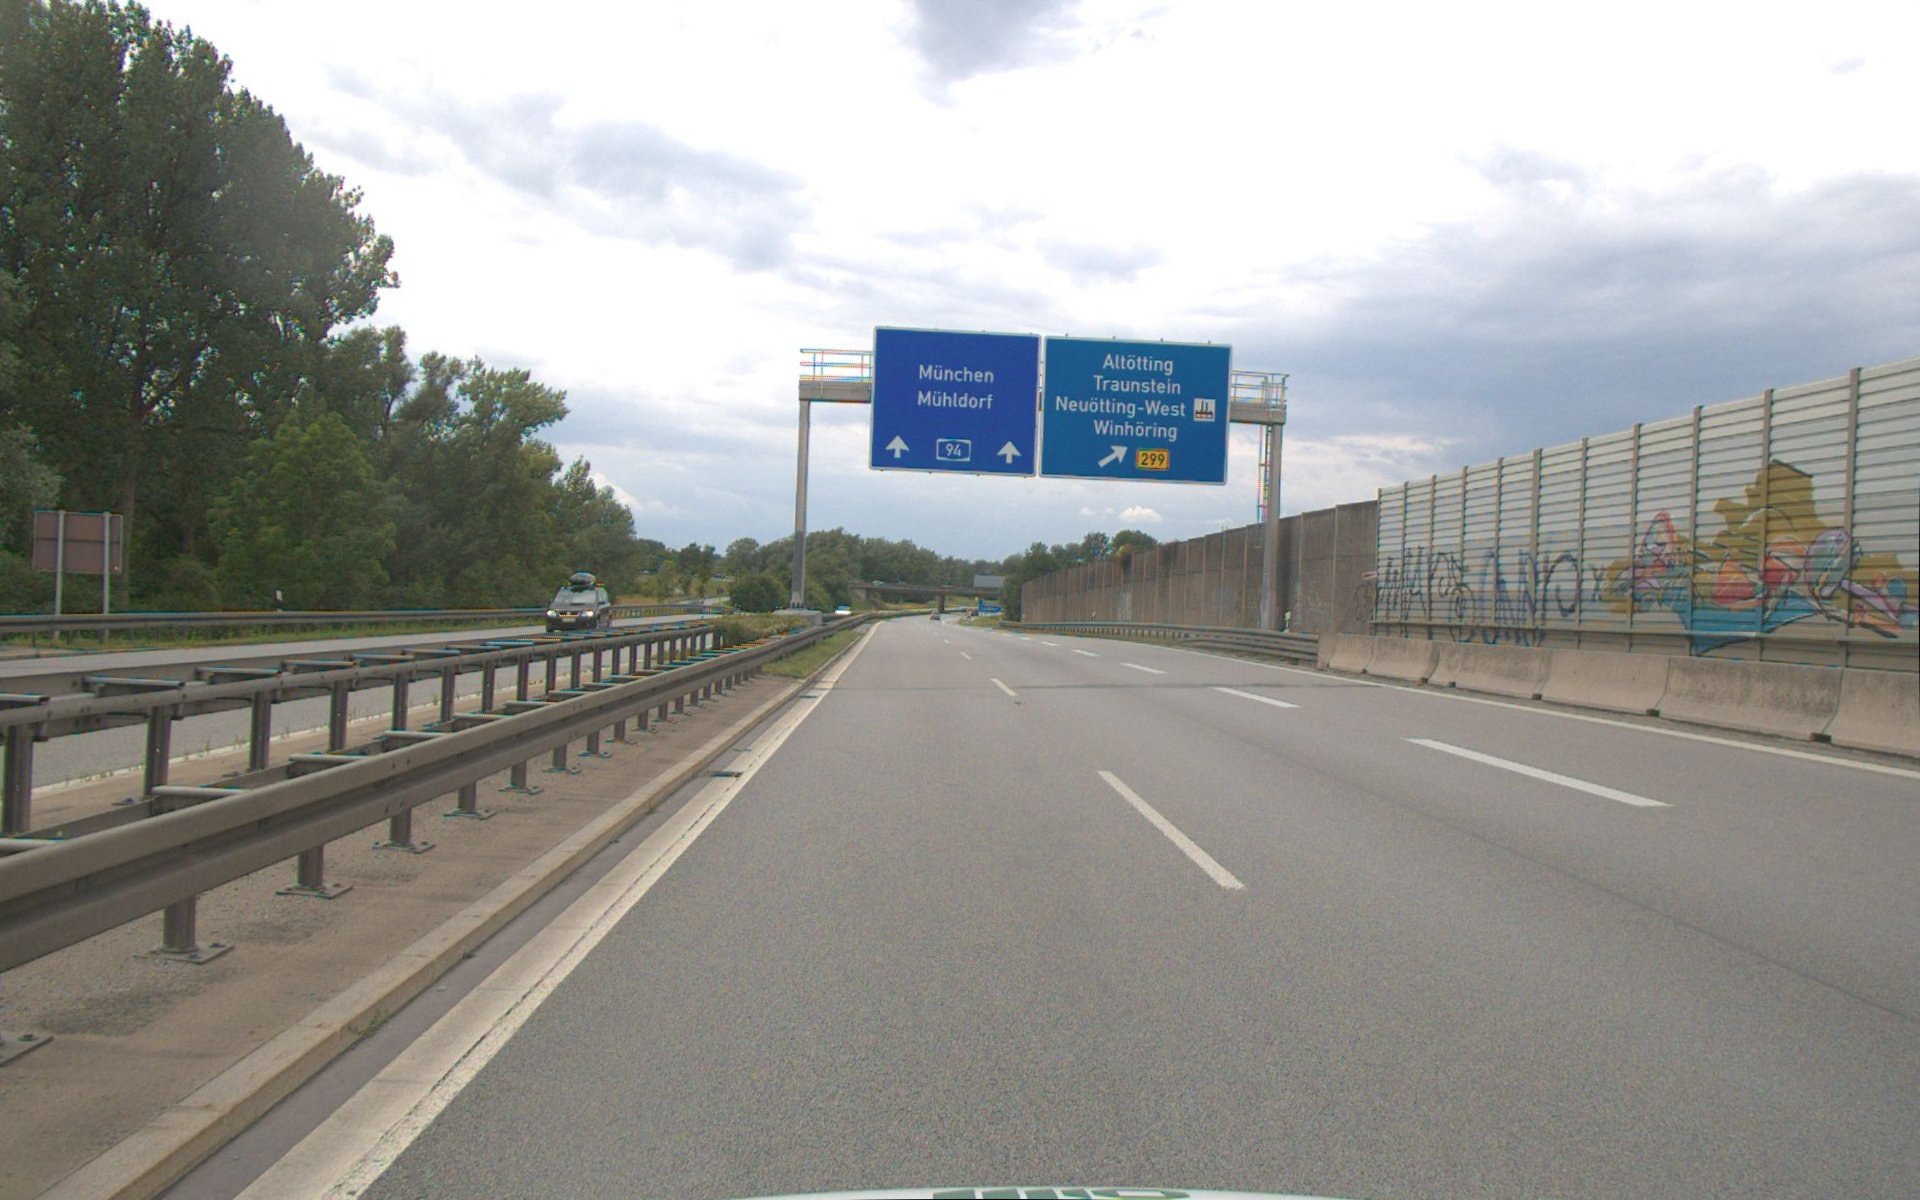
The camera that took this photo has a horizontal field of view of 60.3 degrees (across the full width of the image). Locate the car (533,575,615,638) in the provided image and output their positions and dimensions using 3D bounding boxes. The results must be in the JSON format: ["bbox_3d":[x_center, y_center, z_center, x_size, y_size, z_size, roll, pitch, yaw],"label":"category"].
[{"bbox_3d":[-13.409,0.237,57.718,1.954,2.037,4.740,1,-1,-3],"label":"car"}]
